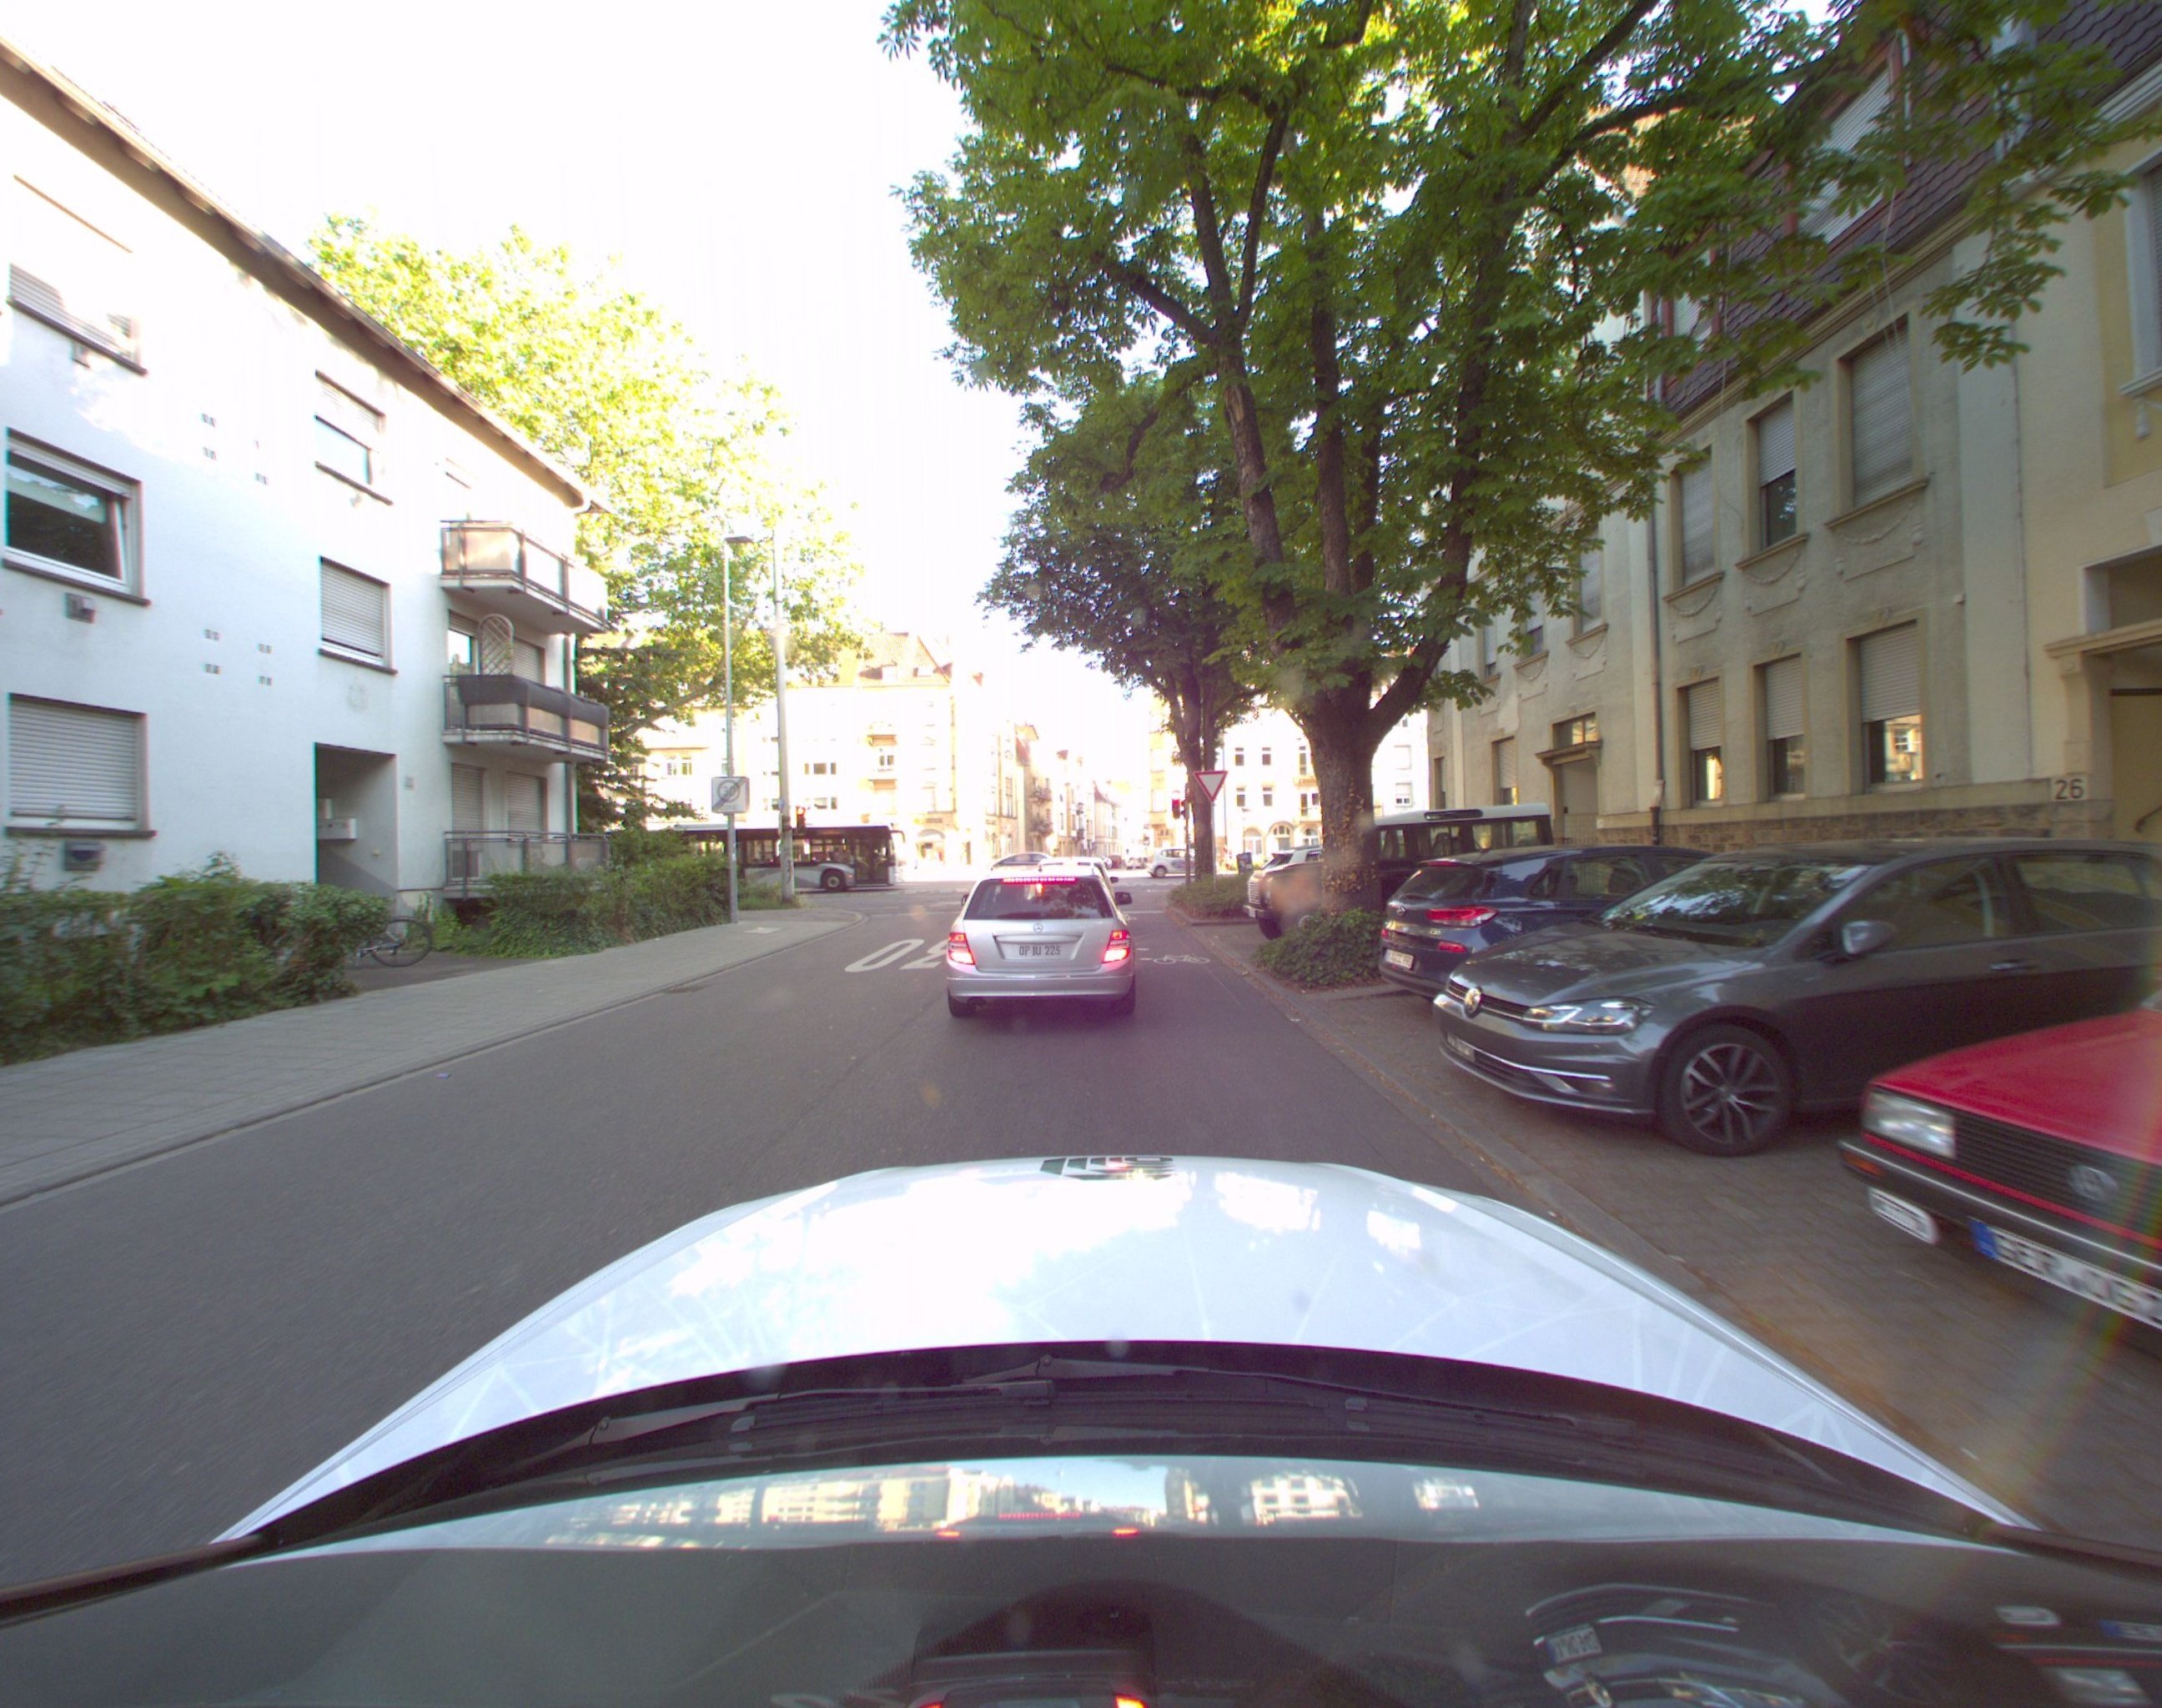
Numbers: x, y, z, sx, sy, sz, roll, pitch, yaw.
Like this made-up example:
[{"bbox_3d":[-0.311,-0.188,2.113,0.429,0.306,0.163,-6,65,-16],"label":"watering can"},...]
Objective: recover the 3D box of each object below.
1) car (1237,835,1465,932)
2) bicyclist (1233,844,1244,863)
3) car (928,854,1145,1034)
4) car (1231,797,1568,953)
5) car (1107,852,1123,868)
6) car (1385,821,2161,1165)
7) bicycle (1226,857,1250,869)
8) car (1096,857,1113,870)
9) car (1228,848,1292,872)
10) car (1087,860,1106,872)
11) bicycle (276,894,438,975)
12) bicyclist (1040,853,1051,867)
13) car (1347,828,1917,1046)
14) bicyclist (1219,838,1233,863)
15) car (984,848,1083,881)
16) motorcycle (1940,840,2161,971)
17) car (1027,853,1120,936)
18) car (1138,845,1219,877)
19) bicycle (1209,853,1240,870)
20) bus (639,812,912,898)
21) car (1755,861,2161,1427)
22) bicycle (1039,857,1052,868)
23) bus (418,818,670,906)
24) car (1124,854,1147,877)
[{"bbox_3d":[5.017,0.524,15.456,3.714,1.570,1.707,-2,0,-2],"label":"car"},{"bbox_3d":[11.758,-0.036,60.915,0.642,1.426,0.636,-1,0,-3],"label":"bicyclist"},{"bbox_3d":[-0.367,0.739,8.996,1.771,1.452,4.547,-1,0,0],"label":"car"},{"bbox_3d":[4.741,0.293,12.525,4.454,2.036,1.699,-2,0,-2],"label":"car"},{"bbox_3d":[4.960,0.833,119.766,1.776,2.204,4.011,-1,1,10],"label":"car"},{"bbox_3d":[4.118,0.625,4.711,4.043,1.452,1.721,-2,0,-2],"label":"car"},{"bbox_3d":[11.759,0.667,60.917,1.613,0.876,0.636,-1,0,-4],"label":"bicycle"},{"bbox_3d":[3.212,1.331,111.103,1.824,1.663,4.011,-1,1,10],"label":"car"},{"bbox_3d":[9.860,0.325,44.952,3.219,1.181,1.317,-2,0,-7],"label":"car"},{"bbox_3d":[2.064,1.556,104.930,1.824,1.402,4.011,-1,1,10],"label":"car"},{"bbox_3d":[-9.982,1.082,11.308,1.630,1.008,0.511,2,-1,-39],"label":"bicycle"},{"bbox_3d":[-3.314,0.519,76.030,0.765,1.290,0.755,-1,0,13],"label":"bicyclist"},{"bbox_3d":[4.425,0.612,6.946,3.714,1.452,1.707,-2,0,-2],"label":"car"},{"bbox_3d":[11.170,-0.264,62.822,0.889,1.859,0.636,-1,0,-3],"label":"bicyclist"},{"bbox_3d":[-2.326,0.515,39.677,4.684,1.428,1.715,-2,0,-7],"label":"car"},{"bbox_3d":[9.528,0.434,7.257,0.691,1.073,2.870,-4,0,1],"label":"motorcycle"},{"bbox_3d":[-0.128,0.707,16.514,1.614,1.446,4.344,-1,0,0],"label":"car"},{"bbox_3d":[4.805,0.332,40.374,3.683,1.449,1.512,-2,0,-7],"label":"car"},{"bbox_3d":[11.063,0.546,62.814,2.251,1.246,0.636,-1,0,-3],"label":"bicycle"},{"bbox_3d":[-12.767,-0.006,34.949,10.441,3.201,2.905,-2,0,-7],"label":"bus"},{"bbox_3d":[4.673,0.662,2.397,4.127,1.315,1.628,-2,0,-4],"label":"car"},{"bbox_3d":[-3.309,0.812,76.030,0.765,0.934,1.947,-1,0,13],"label":"bicycle"},{"bbox_3d":[-21.989,0.285,33.823,8.166,3.201,2.905,-2,0,-7],"label":"bus"},{"bbox_3d":[5.939,1.235,88.276,2.018,2.279,4.011,-1,1,10],"label":"car"}]
